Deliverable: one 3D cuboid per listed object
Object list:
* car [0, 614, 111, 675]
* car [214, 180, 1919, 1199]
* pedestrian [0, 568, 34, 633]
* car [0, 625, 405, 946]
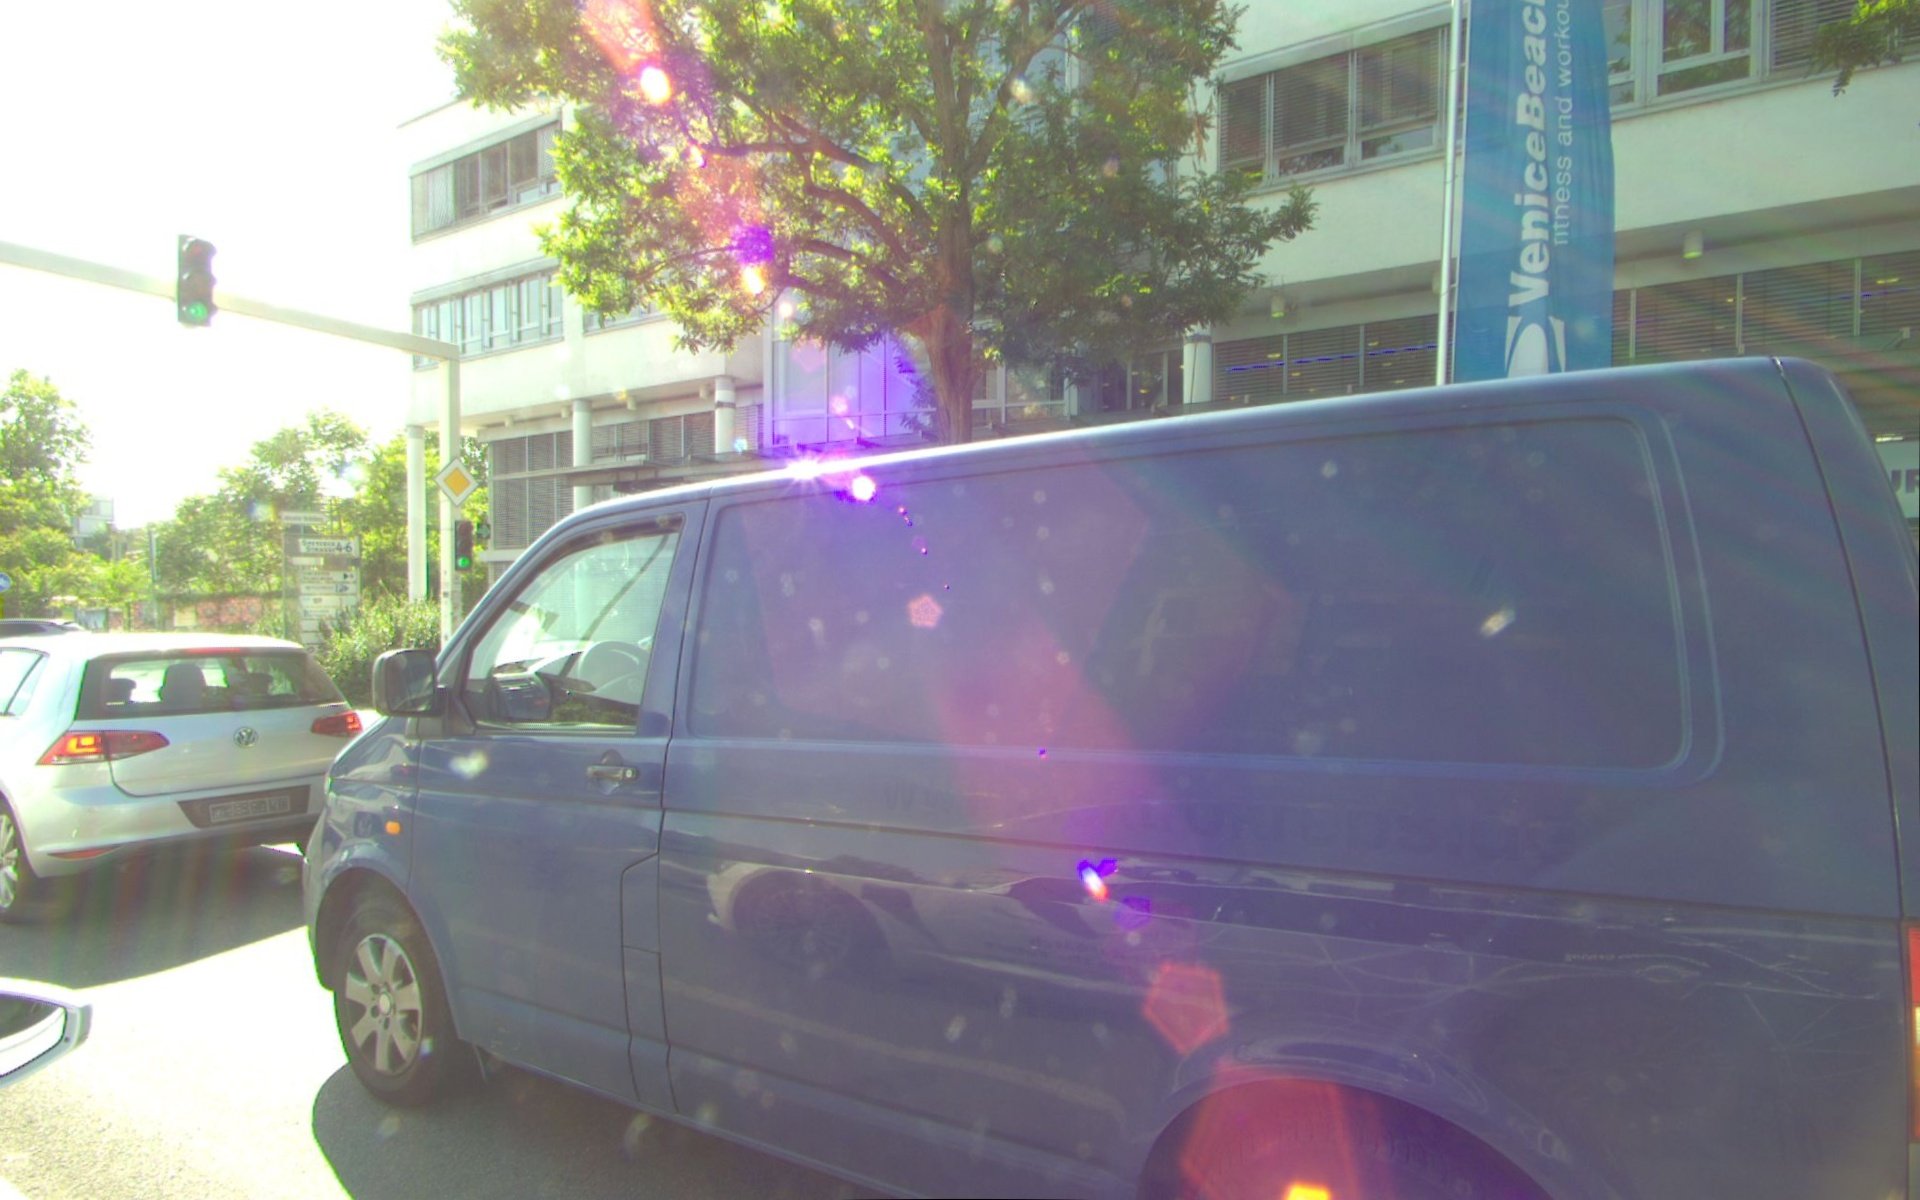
[{"bbox_3d":[-26.491,1.260,27.591,4.371,1.572,1.989,-2,1,-32],"label":"car"},{"bbox_3d":[-0.118,0.538,3.172,4.821,1.973,1.989,-1,-1,32],"label":"car"},{"bbox_3d":[-30.149,0.030,31.673,1.023,2.040,1.025,0,0,32],"label":"pedestrian"},{"bbox_3d":[-5.561,0.920,6.441,3.943,1.448,1.804,-1,-1,32],"label":"car"}]
